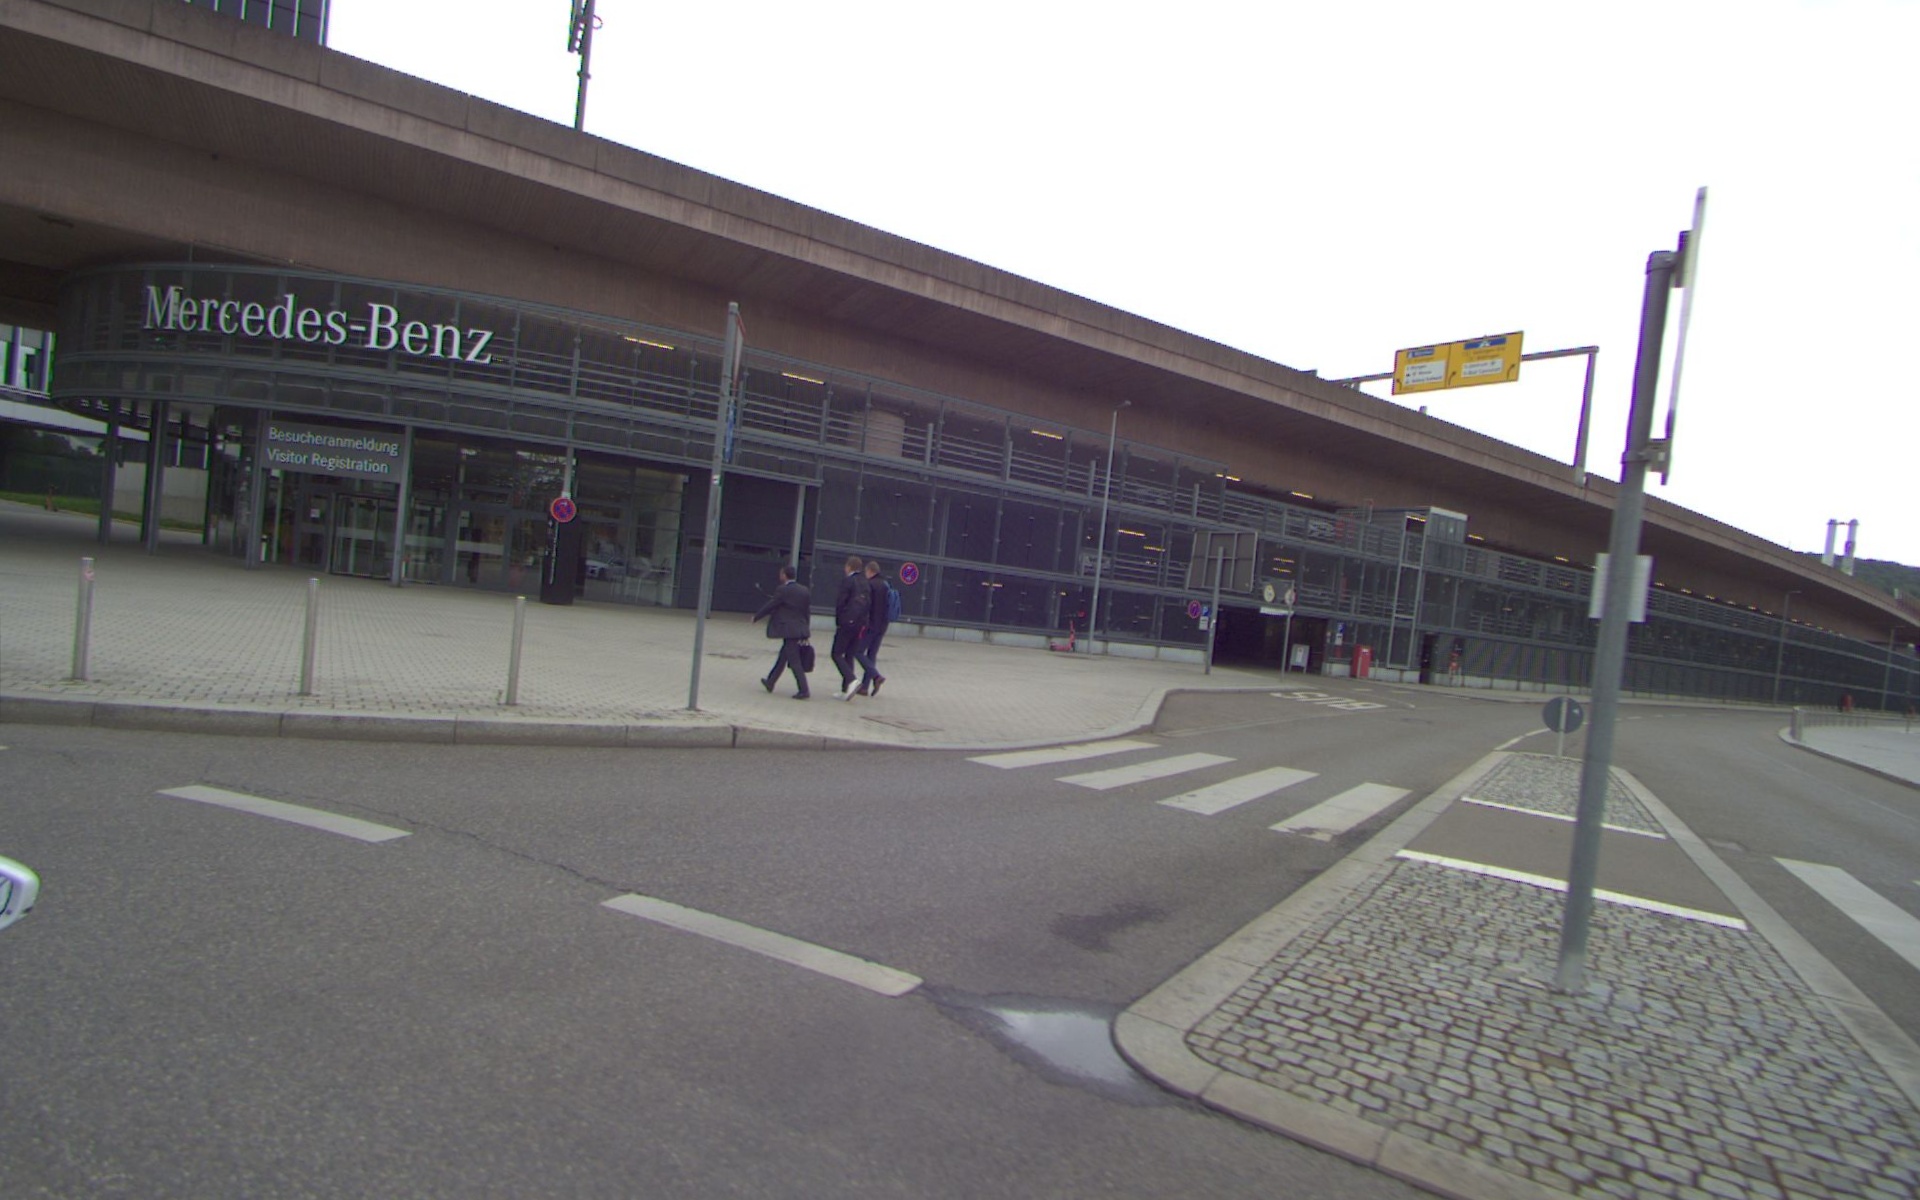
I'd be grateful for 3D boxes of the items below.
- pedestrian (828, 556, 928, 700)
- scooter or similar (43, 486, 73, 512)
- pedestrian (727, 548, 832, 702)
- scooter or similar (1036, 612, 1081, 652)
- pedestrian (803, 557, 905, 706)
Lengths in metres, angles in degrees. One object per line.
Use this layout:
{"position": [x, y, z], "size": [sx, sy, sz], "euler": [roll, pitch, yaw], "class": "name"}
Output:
{"position": [-1.113, 0.383, 13.615], "size": [0.860, 1.821, 0.773], "euler": [6, 2, -44], "class": "pedestrian"}
{"position": [-43.718, -4.900, 48.765], "size": [1.477, 1.119, 0.698], "euler": [8, 2, 35], "class": "scooter or similar"}
{"position": [-2.200, 0.301, 12.218], "size": [0.856, 1.727, 0.766], "euler": [6, 2, -30], "class": "pedestrian"}
{"position": [3.225, 1.040, 32.802], "size": [1.414, 1.137, 0.377], "euler": [7, 2, -33], "class": "scooter or similar"}
{"position": [-1.325, 0.391, 12.541], "size": [0.781, 1.727, 0.763], "euler": [6, 2, -43], "class": "pedestrian"}
